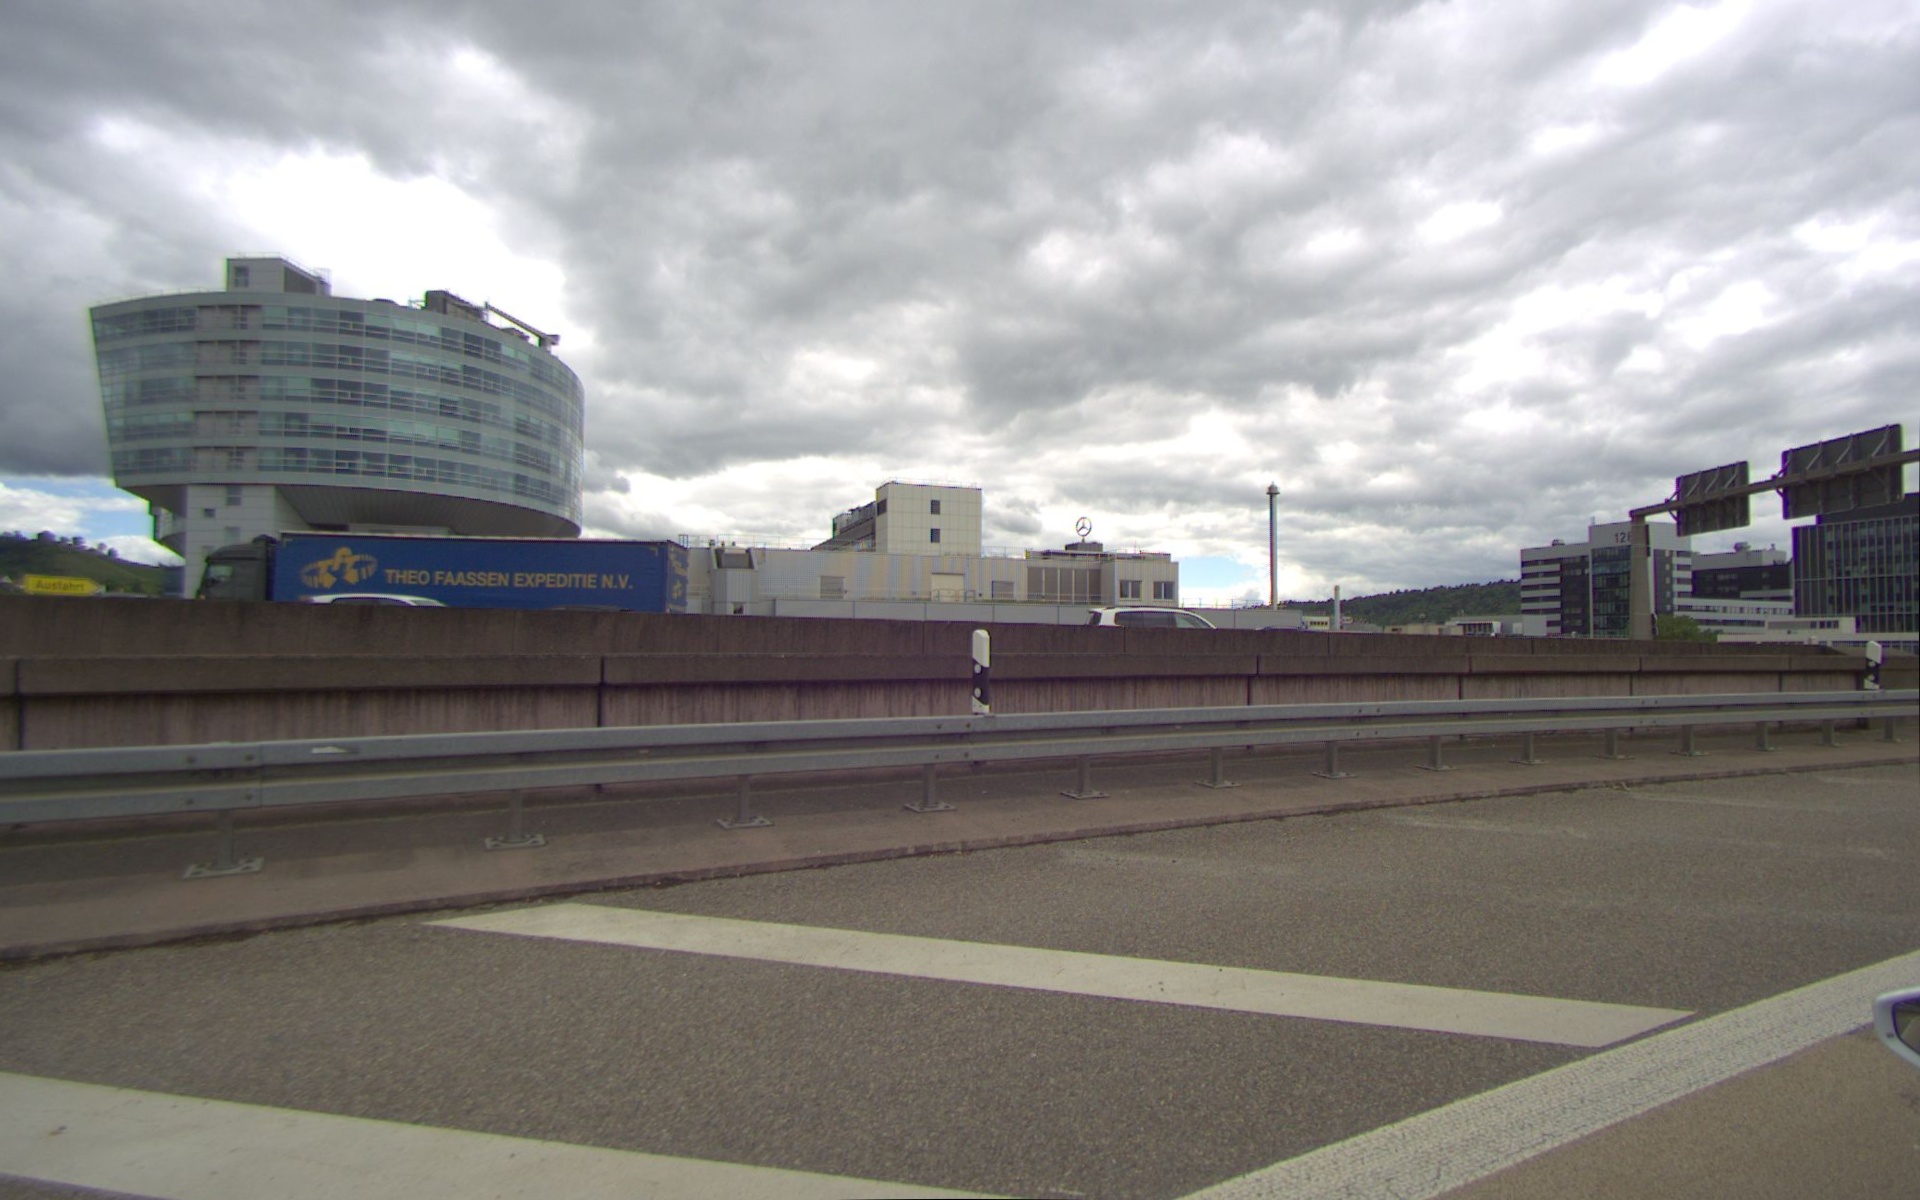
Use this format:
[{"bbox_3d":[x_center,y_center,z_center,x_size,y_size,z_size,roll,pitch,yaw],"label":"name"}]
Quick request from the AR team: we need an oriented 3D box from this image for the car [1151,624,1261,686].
[{"bbox_3d":[9.691,2.135,39.890,3.919,2.041,2.000,2,5,5],"label":"car"}]

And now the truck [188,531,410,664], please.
[{"bbox_3d":[-23.161,-0.026,35.476,5.581,4.403,3.173,1,-2,1],"label":"truck"}]

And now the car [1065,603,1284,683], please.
[{"bbox_3d":[4.981,0.977,23.894,4.794,1.691,2.000,1,0,2],"label":"car"}]

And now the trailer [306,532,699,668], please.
[{"bbox_3d":[-15.824,0.062,35.473,12.270,4.403,3.173,1,-2,0],"label":"trailer"}]

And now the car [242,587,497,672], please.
[{"bbox_3d":[-11.407,0.543,19.592,3.921,1.517,1.714,1,0,0],"label":"car"}]

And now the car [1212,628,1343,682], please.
[{"bbox_3d":[9.990,1.726,31.763,3.613,1.612,1.651,1,-2,0],"label":"car"}]
